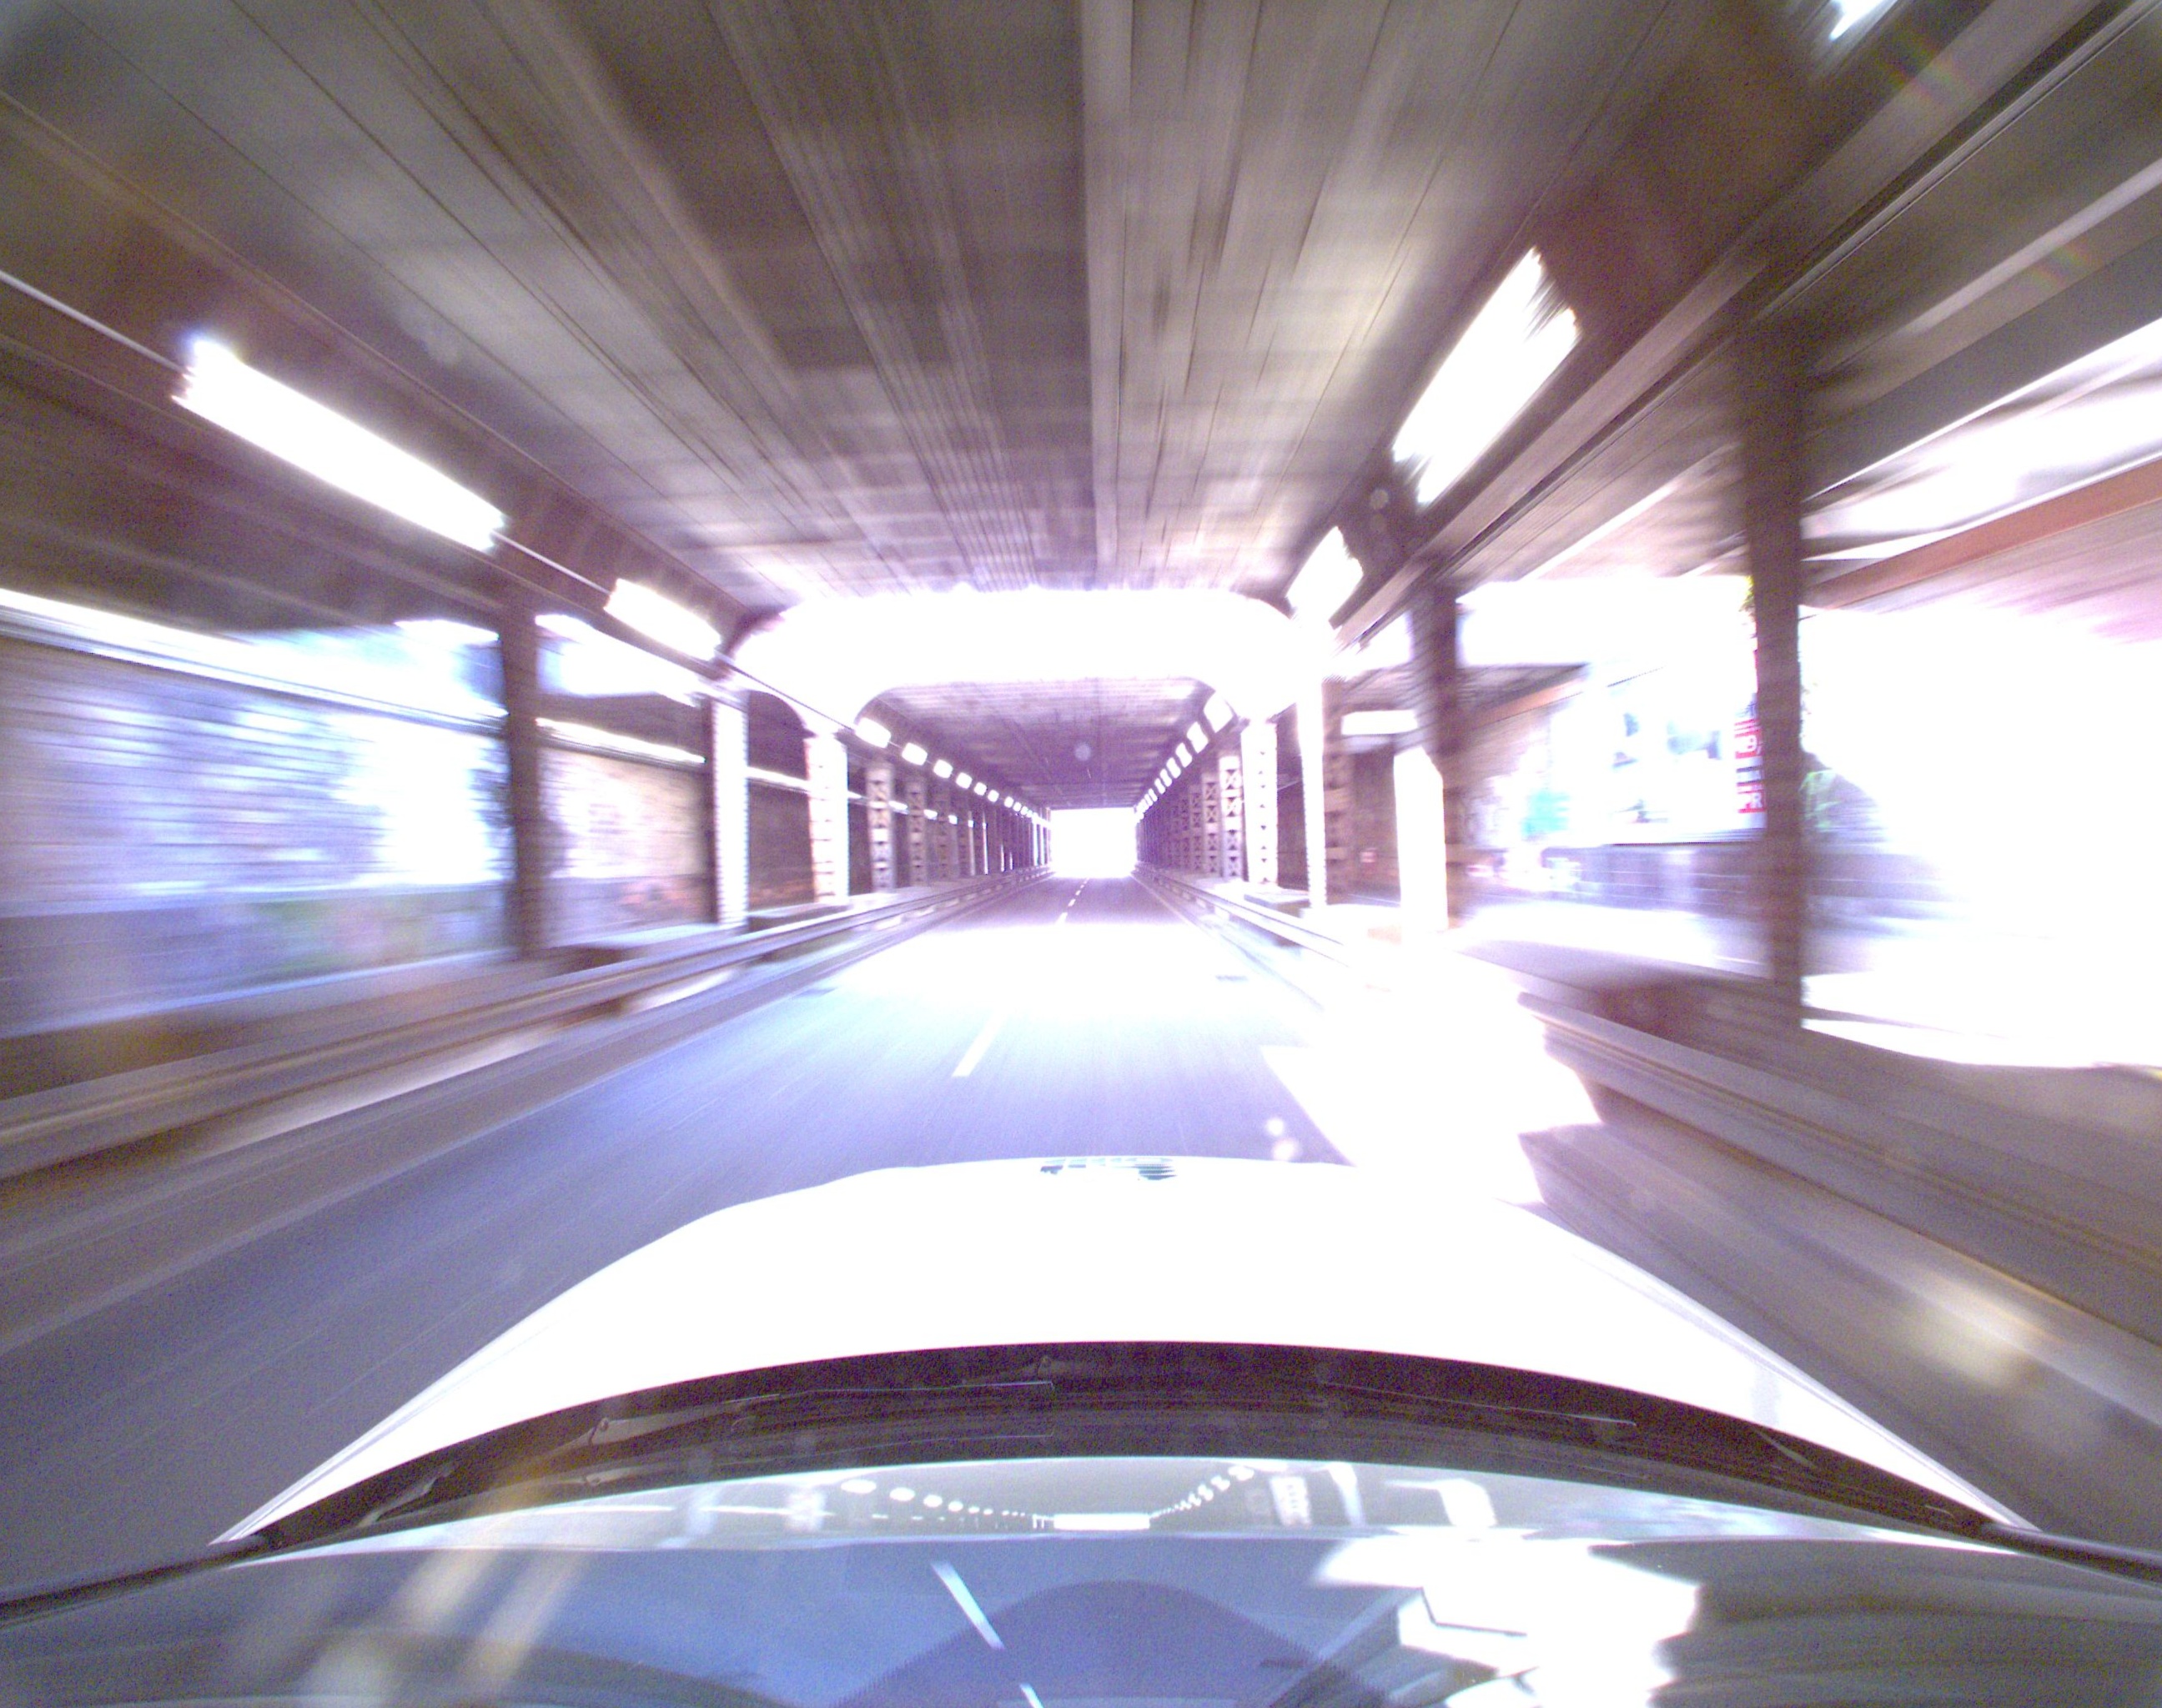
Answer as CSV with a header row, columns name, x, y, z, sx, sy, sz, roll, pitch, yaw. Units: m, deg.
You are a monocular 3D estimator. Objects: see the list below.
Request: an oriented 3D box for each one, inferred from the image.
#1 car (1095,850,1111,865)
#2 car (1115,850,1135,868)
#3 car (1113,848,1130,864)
name,x,y,z,sx,sy,sz,roll,pitch,yaw
car,2.904,0.401,105.359,1.986,1.784,4.002,-2,0,2
car,4.671,0.486,86.561,1.986,1.784,4.002,-2,0,2
car,4.850,0.213,97.993,1.986,1.784,4.002,-2,0,2
